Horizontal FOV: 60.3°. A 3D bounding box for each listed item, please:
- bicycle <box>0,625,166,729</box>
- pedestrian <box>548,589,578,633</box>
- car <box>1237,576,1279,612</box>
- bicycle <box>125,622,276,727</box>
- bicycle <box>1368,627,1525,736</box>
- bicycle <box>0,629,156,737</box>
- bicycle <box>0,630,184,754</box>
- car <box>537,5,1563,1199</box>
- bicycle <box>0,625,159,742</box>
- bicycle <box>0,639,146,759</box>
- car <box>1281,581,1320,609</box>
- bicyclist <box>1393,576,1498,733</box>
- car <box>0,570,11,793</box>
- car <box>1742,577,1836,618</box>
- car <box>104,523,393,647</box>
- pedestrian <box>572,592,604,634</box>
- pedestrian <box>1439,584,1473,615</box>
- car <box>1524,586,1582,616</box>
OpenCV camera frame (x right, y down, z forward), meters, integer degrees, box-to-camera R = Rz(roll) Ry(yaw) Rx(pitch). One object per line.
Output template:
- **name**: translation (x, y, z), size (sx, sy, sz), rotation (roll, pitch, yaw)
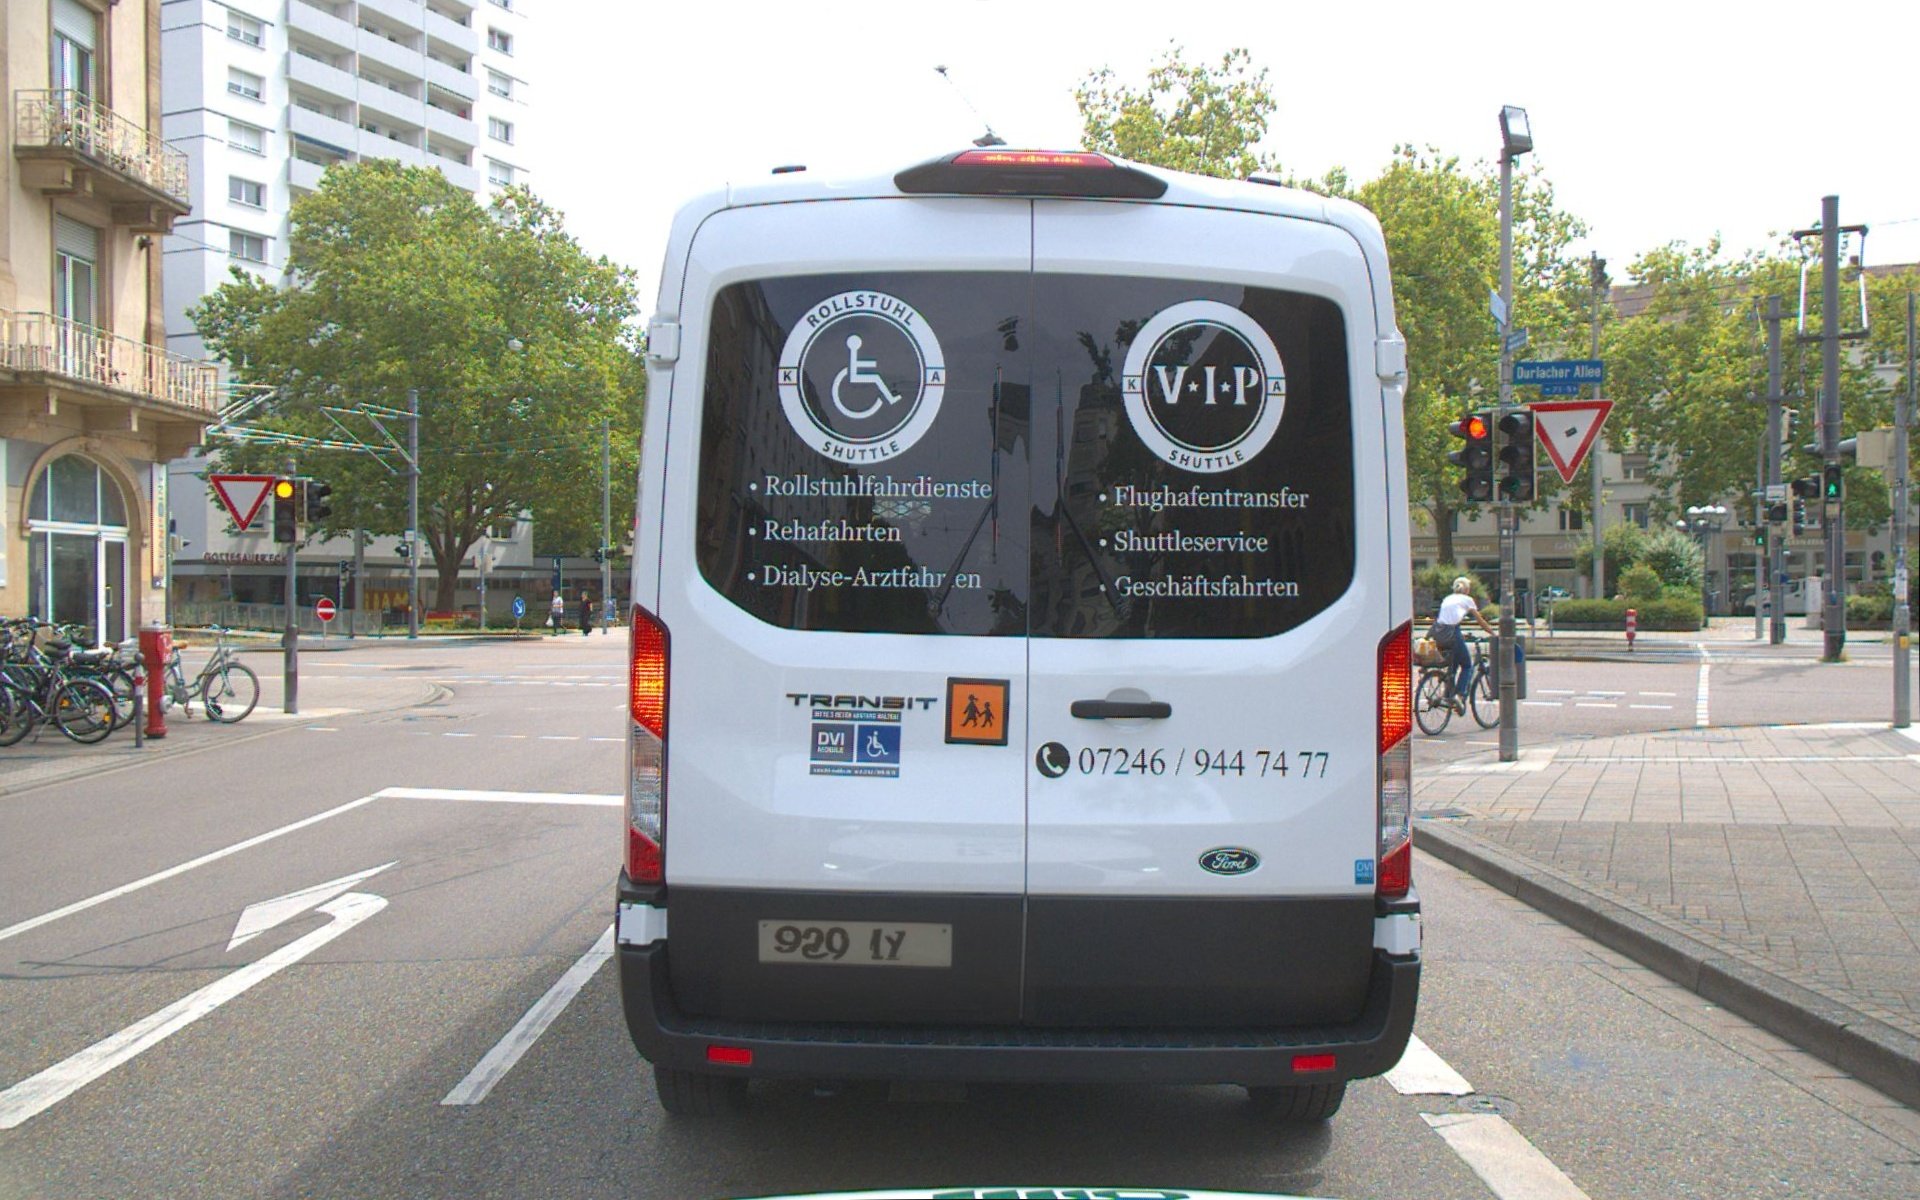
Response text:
- **bicycle**: translation (-10.218, 0.886, 19.089), size (1.775, 1.140, 0.593), rotation (2, 0, -9)
- **pedestrian**: translation (-14.546, 0.414, 60.608), size (0.791, 1.600, 0.723), rotation (0, 0, 23)
- **car**: translation (17.127, -0.348, 95.233), size (1.951, 1.964, 4.002), rotation (-1, 0, 4)
- **bicycle**: translation (-9.285, 0.893, 20.220), size (1.836, 1.187, 0.498), rotation (2, 0, 20)
- **bicycle**: translation (5.486, 0.881, 18.581), size (0.890, 1.094, 1.956), rotation (0, 1, 44)
- **bicycle**: translation (-10.005, 0.919, 18.394), size (1.775, 1.140, 0.593), rotation (2, 0, -9)
- **bicycle**: translation (-9.048, 0.933, 17.060), size (1.771, 1.140, 0.594), rotation (3, 0, 3)
- **car**: translation (0.121, 0.081, 5.764), size (2.138, 2.694, 4.627), rotation (0, 1, -2)
- **bicycle**: translation (-9.674, 0.892, 17.788), size (1.775, 1.186, 0.593), rotation (2, 0, -9)
- **bicycle**: translation (-9.084, 0.971, 16.388), size (1.771, 1.140, 0.594), rotation (-1, 0, 6)
- **car**: translation (21.556, -0.340, 104.661), size (1.767, 1.713, 4.001), rotation (-1, 0, 21)
- **bicyclist**: translation (5.447, 0.587, 18.569), size (0.891, 1.713, 0.752), rotation (0, 0, 43)
- **car**: translation (-9.786, 0.681, 12.834), size (3.974, 1.804, 1.771), rotation (-1, 1, -40)
- **car**: translation (39.687, -0.108, 79.292), size (3.907, 1.916, 1.857), rotation (-1, 0, 24)
- **car**: translation (-24.371, -0.493, 56.566), size (9.686, 3.984, 3.454), rotation (0, 0, 24)
- **pedestrian**: translation (-13.814, 0.465, 61.412), size (0.914, 1.541, 0.721), rotation (0, 0, 36)
- **pedestrian**: translation (21.210, -0.021, 70.740), size (1.068, 1.257, 1.441), rotation (-2, -1, 4)
- **car**: translation (31.758, 0.028, 88.676), size (1.951, 1.529, 4.002), rotation (-1, 0, 4)
